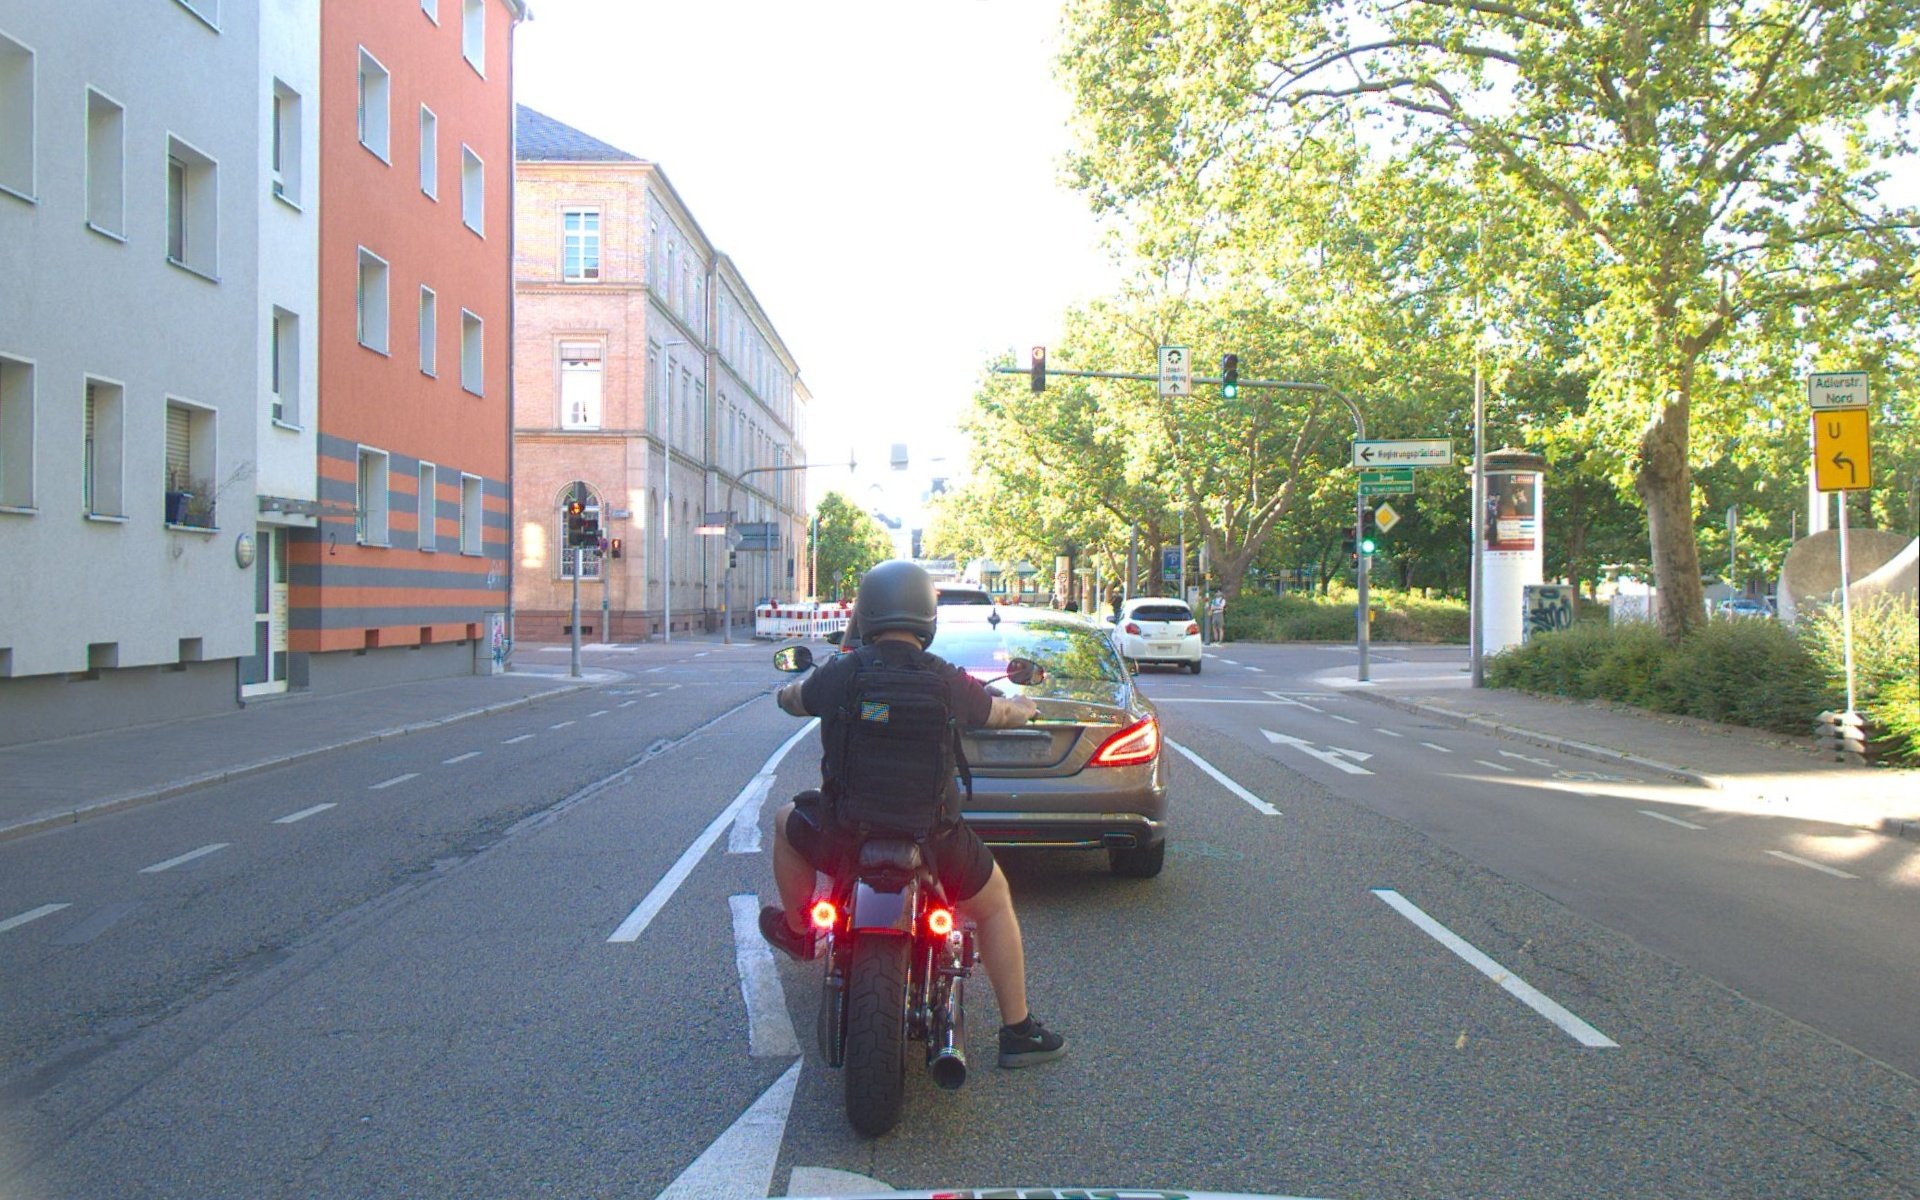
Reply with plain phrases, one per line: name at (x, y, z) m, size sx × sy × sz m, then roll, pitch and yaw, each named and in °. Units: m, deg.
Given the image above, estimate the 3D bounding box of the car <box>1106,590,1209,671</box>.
car at (4.022, 0.600, 34.192) m, size 1.645 × 1.524 × 3.685 m, roll 2°, pitch 0°, yaw 0°

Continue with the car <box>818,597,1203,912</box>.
car at (0.209, 0.725, 9.665) m, size 1.791 × 1.445 × 3.814 m, roll 1°, pitch 0°, yaw -1°

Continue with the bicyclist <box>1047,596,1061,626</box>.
bicyclist at (4.907, 0.585, 86.208) m, size 0.643 × 1.557 × 0.906 m, roll 2°, pitch 0°, yaw -1°

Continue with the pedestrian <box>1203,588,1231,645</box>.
pedestrian at (8.278, 0.529, 53.309) m, size 0.566 × 1.805 × 0.618 m, roll 2°, pitch -1°, yaw -35°

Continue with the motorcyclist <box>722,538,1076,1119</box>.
motorcyclist at (-0.182, 0.640, 5.360) m, size 0.991 × 1.630 × 1.406 m, roll 0°, pitch 0°, yaw -1°

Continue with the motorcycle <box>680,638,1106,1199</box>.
motorcycle at (-0.178, 0.820, 5.198) m, size 0.991 × 1.329 × 2.672 m, roll 0°, pitch 0°, yaw -1°

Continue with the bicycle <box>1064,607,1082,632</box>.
bicycle at (5.184, 0.882, 75.856) m, size 0.643 × 1.089 × 1.926 m, roll 2°, pitch 0°, yaw -1°

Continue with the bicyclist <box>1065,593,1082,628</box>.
bicyclist at (5.198, 0.481, 75.849) m, size 0.643 × 1.557 × 0.852 m, roll 2°, pitch -1°, yaw -1°

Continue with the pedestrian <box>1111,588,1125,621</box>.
pedestrian at (7.725, 0.206, 80.710) m, size 0.580 × 1.606 × 0.527 m, roll 2°, pitch -1°, yaw -1°

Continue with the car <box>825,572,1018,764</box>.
car at (-0.495, 0.616, 16.784) m, size 1.599 × 1.679 × 3.845 m, roll 2°, pitch 0°, yaw -6°

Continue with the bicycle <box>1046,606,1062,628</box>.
bicycle at (4.902, 0.894, 86.271) m, size 0.643 × 1.131 × 2.185 m, roll 2°, pitch 0°, yaw -1°
